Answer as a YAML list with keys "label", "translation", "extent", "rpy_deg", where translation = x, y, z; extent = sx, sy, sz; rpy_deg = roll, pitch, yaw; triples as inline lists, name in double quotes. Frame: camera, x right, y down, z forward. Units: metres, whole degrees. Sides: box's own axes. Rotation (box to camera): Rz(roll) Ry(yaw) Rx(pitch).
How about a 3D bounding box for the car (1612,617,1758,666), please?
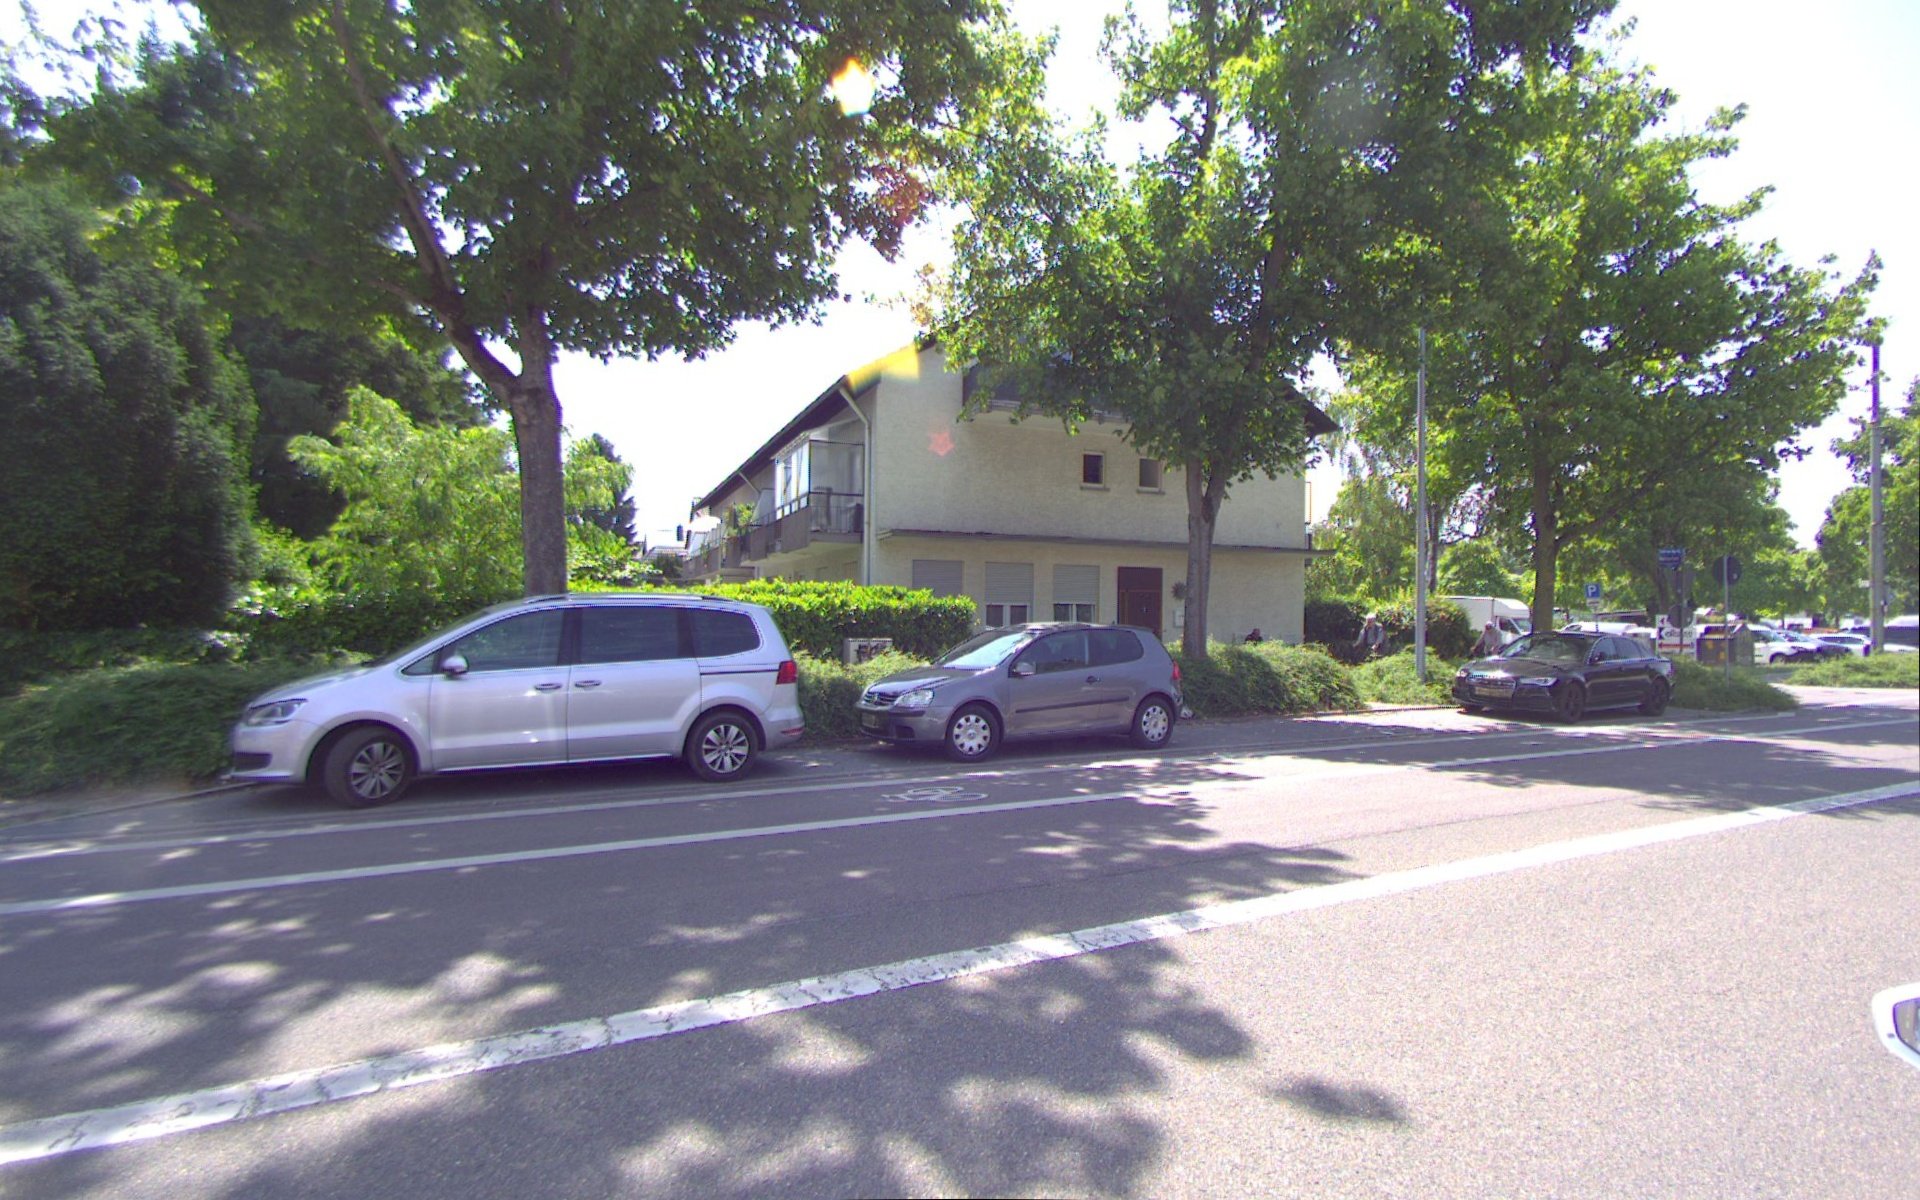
- label: "car"
  translation: [29.468, 1.656, 40.973]
  extent: [2.040, 1.881, 4.420]
  rpy_deg: [1, -1, -34]

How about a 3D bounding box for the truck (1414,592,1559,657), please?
- label: "truck"
  translation: [28.552, 1.271, 54.814]
  extent: [2.126, 3.270, 6.942]
  rpy_deg: [1, 0, -31]

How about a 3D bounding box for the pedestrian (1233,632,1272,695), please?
- label: "pedestrian"
  translation: [7.355, 1.588, 25.283]
  extent: [0.599, 1.530, 0.792]
  rpy_deg: [1, -1, -23]

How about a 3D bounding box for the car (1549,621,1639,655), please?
- label: "car"
  translation: [37.460, 2.206, 59.439]
  extent: [1.948, 1.845, 4.108]
  rpy_deg: [1, -1, -30]

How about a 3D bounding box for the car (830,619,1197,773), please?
- label: "car"
  translation: [0.689, 1.014, 11.853]
  extent: [4.080, 1.506, 1.668]
  rpy_deg: [1, 0, -31]

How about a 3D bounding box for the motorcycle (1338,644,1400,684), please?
- label: "motorcycle"
  translation: [9.169, 1.417, 22.491]
  extent: [1.354, 0.837, 0.523]
  rpy_deg: [1, 2, -29]

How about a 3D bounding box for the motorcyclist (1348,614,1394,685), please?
- label: "motorcyclist"
  translation: [9.209, 1.101, 22.506]
  extent: [0.716, 1.523, 0.584]
  rpy_deg: [1, 2, -29]

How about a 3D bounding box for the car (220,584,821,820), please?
- label: "car"
  translation: [-3.827, 0.773, 9.307]
  extent: [4.632, 1.711, 1.961]
  rpy_deg: [1, 0, -30]

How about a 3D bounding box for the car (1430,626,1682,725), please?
- label: "car"
  translation: [10.558, 1.242, 17.702]
  extent: [4.757, 1.476, 1.883]
  rpy_deg: [1, 0, -33]

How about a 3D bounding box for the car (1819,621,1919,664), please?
- label: "car"
  translation: [45.443, 2.062, 49.633]
  extent: [1.835, 2.021, 4.189]
  rpy_deg: [1, -1, -30]

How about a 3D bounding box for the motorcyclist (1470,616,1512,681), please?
- label: "motorcyclist"
  translation: [12.984, 1.177, 24.578]
  extent: [0.654, 1.523, 0.584]
  rpy_deg: [1, 2, -29]

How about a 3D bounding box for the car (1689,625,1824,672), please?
- label: "car"
  translation: [33.834, 2.023, 42.805]
  extent: [1.651, 1.860, 4.251]
  rpy_deg: [1, -1, -27]

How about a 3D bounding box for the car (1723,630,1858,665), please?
- label: "car"
  translation: [36.437, 2.053, 44.156]
  extent: [2.059, 1.422, 4.171]
  rpy_deg: [1, -1, -33]

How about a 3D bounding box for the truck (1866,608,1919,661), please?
- label: "truck"
  translation: [52.380, 1.834, 53.573]
  extent: [2.402, 2.796, 5.556]
  rpy_deg: [1, -1, -28]

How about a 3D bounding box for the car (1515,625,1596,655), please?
- label: "car"
  translation: [34.957, 2.309, 59.025]
  extent: [1.712, 1.597, 3.729]
  rpy_deg: [1, 0, -30]

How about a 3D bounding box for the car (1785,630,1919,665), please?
- label: "car"
  translation: [43.069, 2.245, 48.387]
  extent: [2.034, 1.508, 4.738]
  rpy_deg: [1, -1, -30]
